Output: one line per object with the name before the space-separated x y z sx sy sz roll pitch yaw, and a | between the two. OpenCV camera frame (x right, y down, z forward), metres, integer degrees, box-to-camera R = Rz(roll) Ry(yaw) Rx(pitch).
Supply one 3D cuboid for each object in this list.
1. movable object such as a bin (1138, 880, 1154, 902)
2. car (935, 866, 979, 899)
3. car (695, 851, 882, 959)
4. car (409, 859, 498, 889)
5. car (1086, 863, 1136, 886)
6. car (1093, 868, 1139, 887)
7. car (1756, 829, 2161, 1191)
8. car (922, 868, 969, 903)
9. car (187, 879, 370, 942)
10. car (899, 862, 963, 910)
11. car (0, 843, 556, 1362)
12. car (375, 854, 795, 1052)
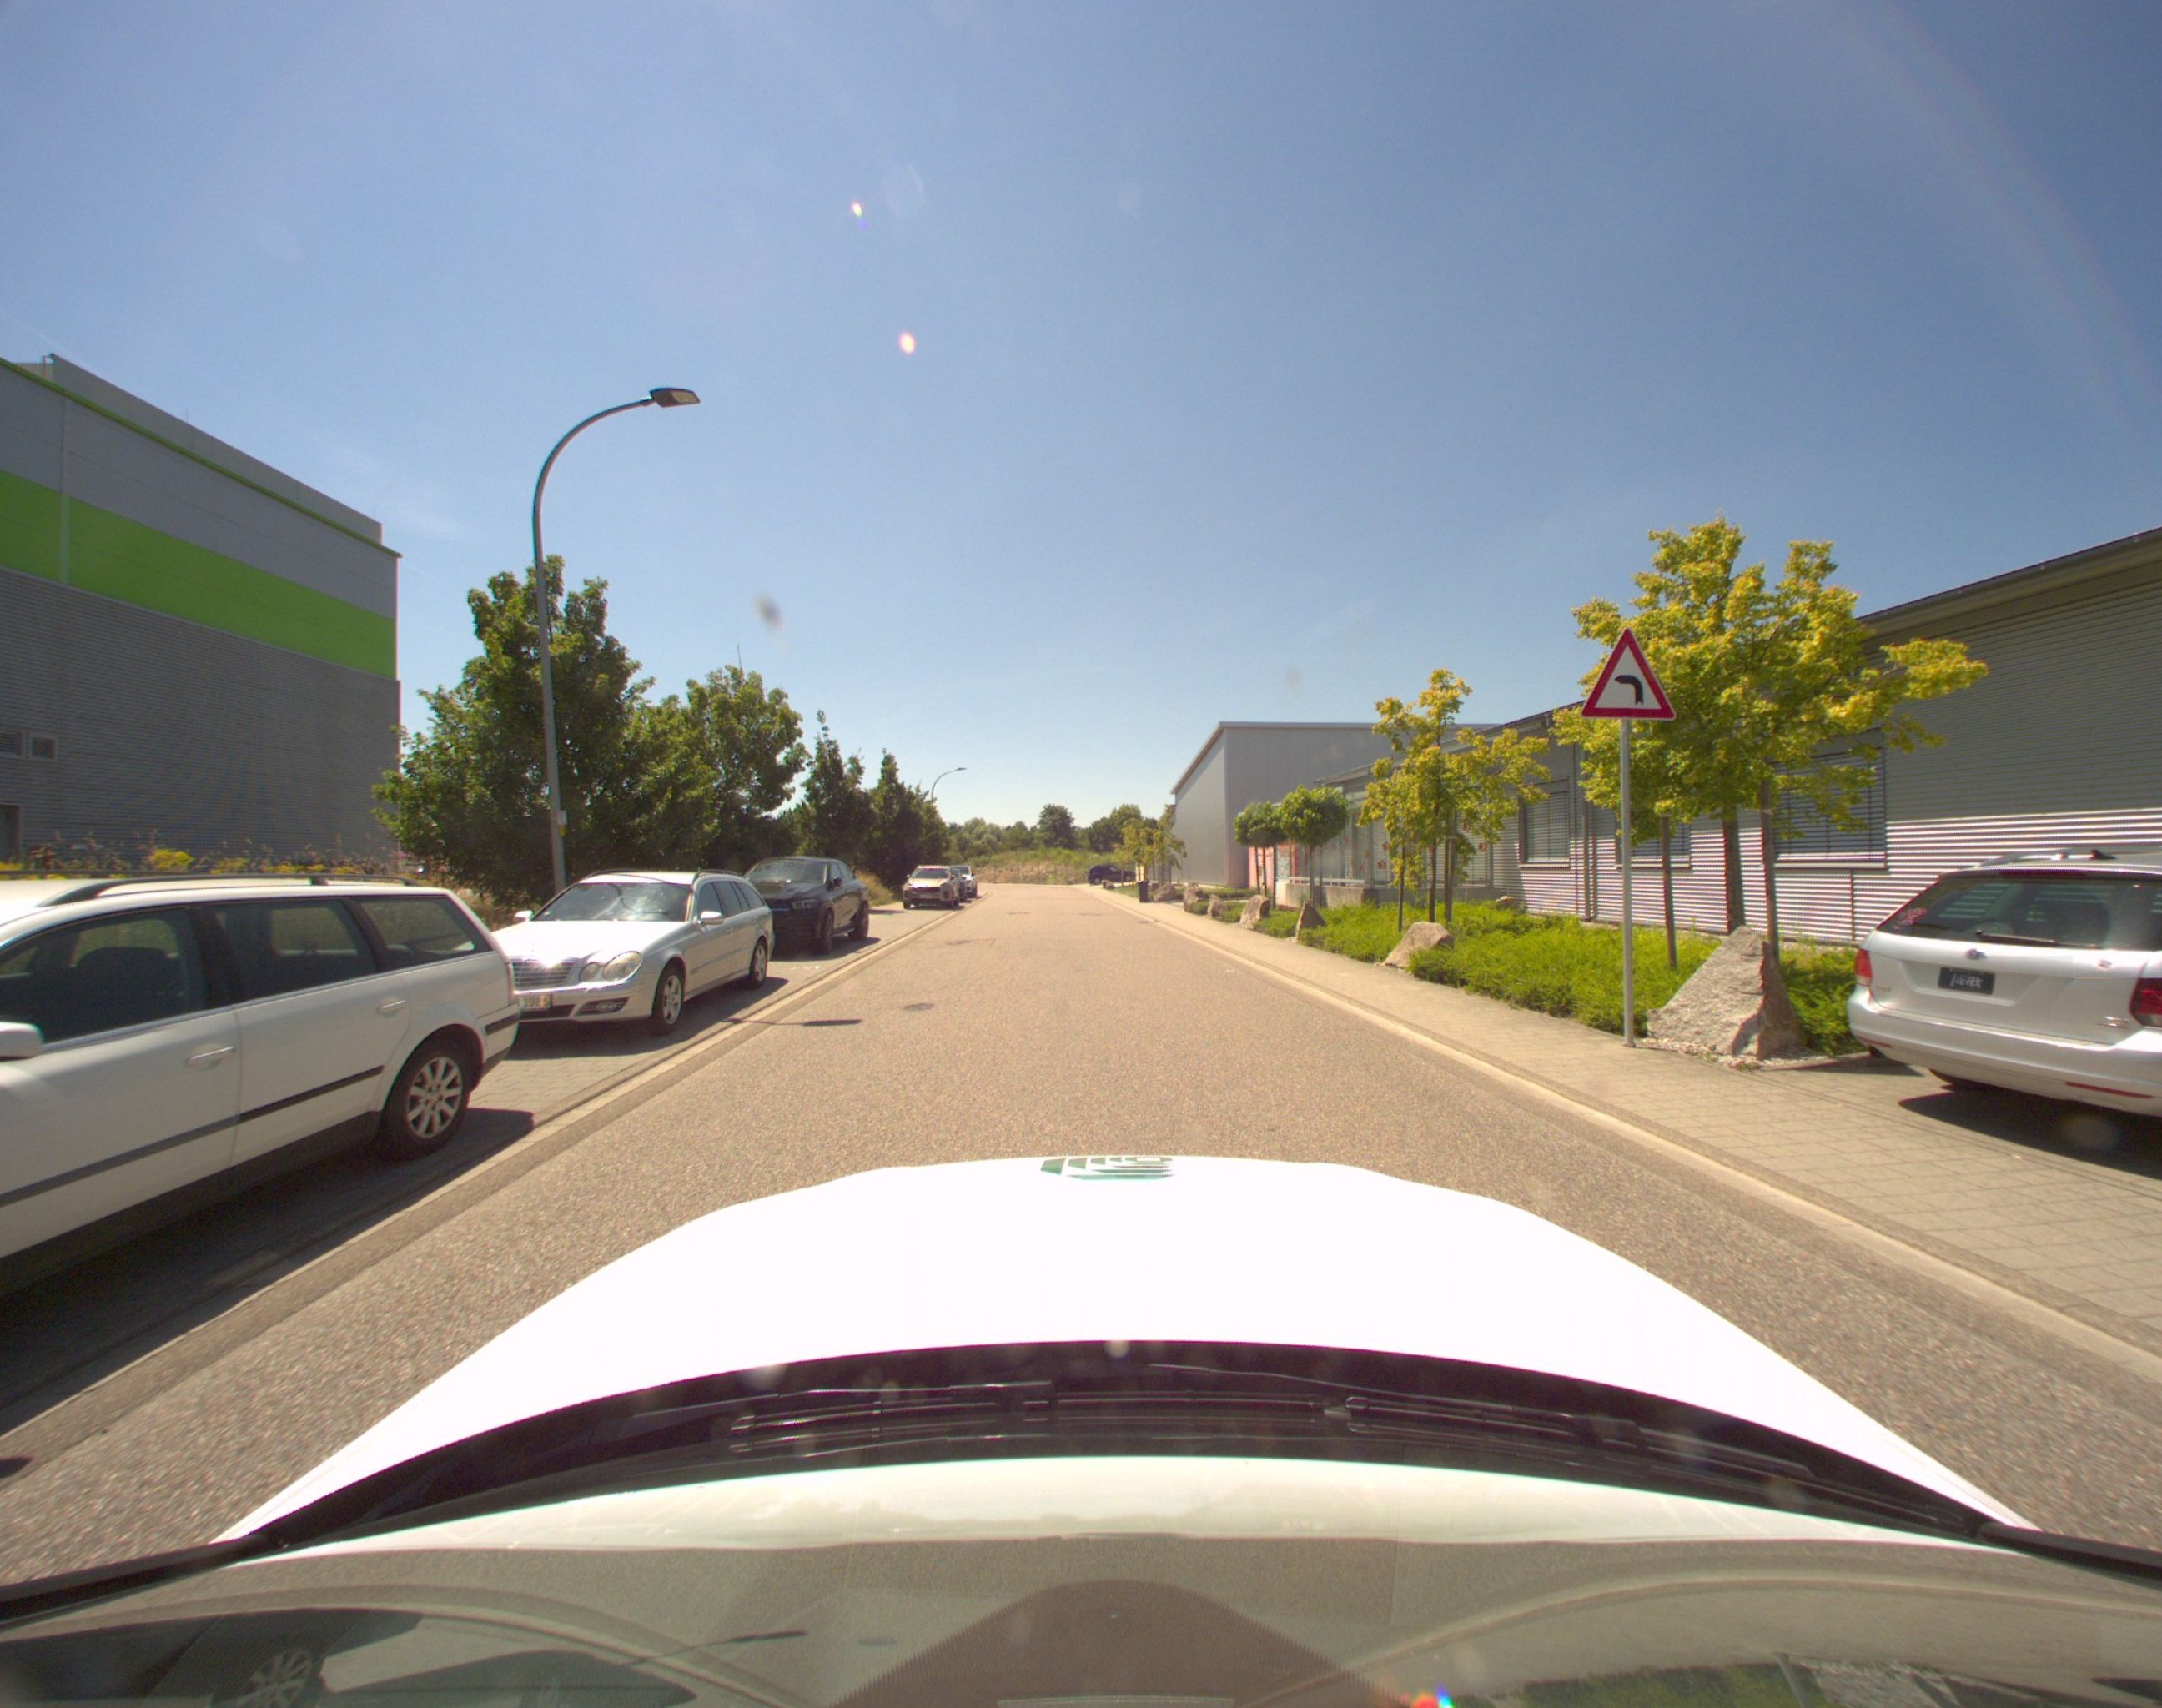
movable object such as a bin | 2.791 1.584 34.982 0.557 0.946 0.538 -1 -1 -5
car | -6.676 1.501 44.211 1.909 1.655 4.748 -1 -1 -4
car | -5.318 0.855 15.657 1.987 1.713 5.001 1 -1 -3
car | -34.087 1.057 44.391 1.991 1.544 3.991 0 -1 -6
car | 2.566 1.747 69.827 4.003 1.655 1.855 -5 -1 -5
car | 3.160 2.153 74.488 4.003 1.462 1.889 -3 -1 -5
car | 6.659 0.626 4.544 4.269 1.541 1.911 -1 -1 -3
car | -6.354 1.453 38.609 1.910 1.492 4.403 1 -1 -6
car | -19.654 1.342 20.135 1.428 1.352 3.234 -1 -1 -3
car | -5.792 1.204 31.987 1.908 1.713 4.406 1 -1 -4
car | -4.118 0.716 2.775 1.849 1.519 4.894 1 -1 -6
car | -4.746 0.805 8.937 1.849 1.519 5.155 1 -1 -6
